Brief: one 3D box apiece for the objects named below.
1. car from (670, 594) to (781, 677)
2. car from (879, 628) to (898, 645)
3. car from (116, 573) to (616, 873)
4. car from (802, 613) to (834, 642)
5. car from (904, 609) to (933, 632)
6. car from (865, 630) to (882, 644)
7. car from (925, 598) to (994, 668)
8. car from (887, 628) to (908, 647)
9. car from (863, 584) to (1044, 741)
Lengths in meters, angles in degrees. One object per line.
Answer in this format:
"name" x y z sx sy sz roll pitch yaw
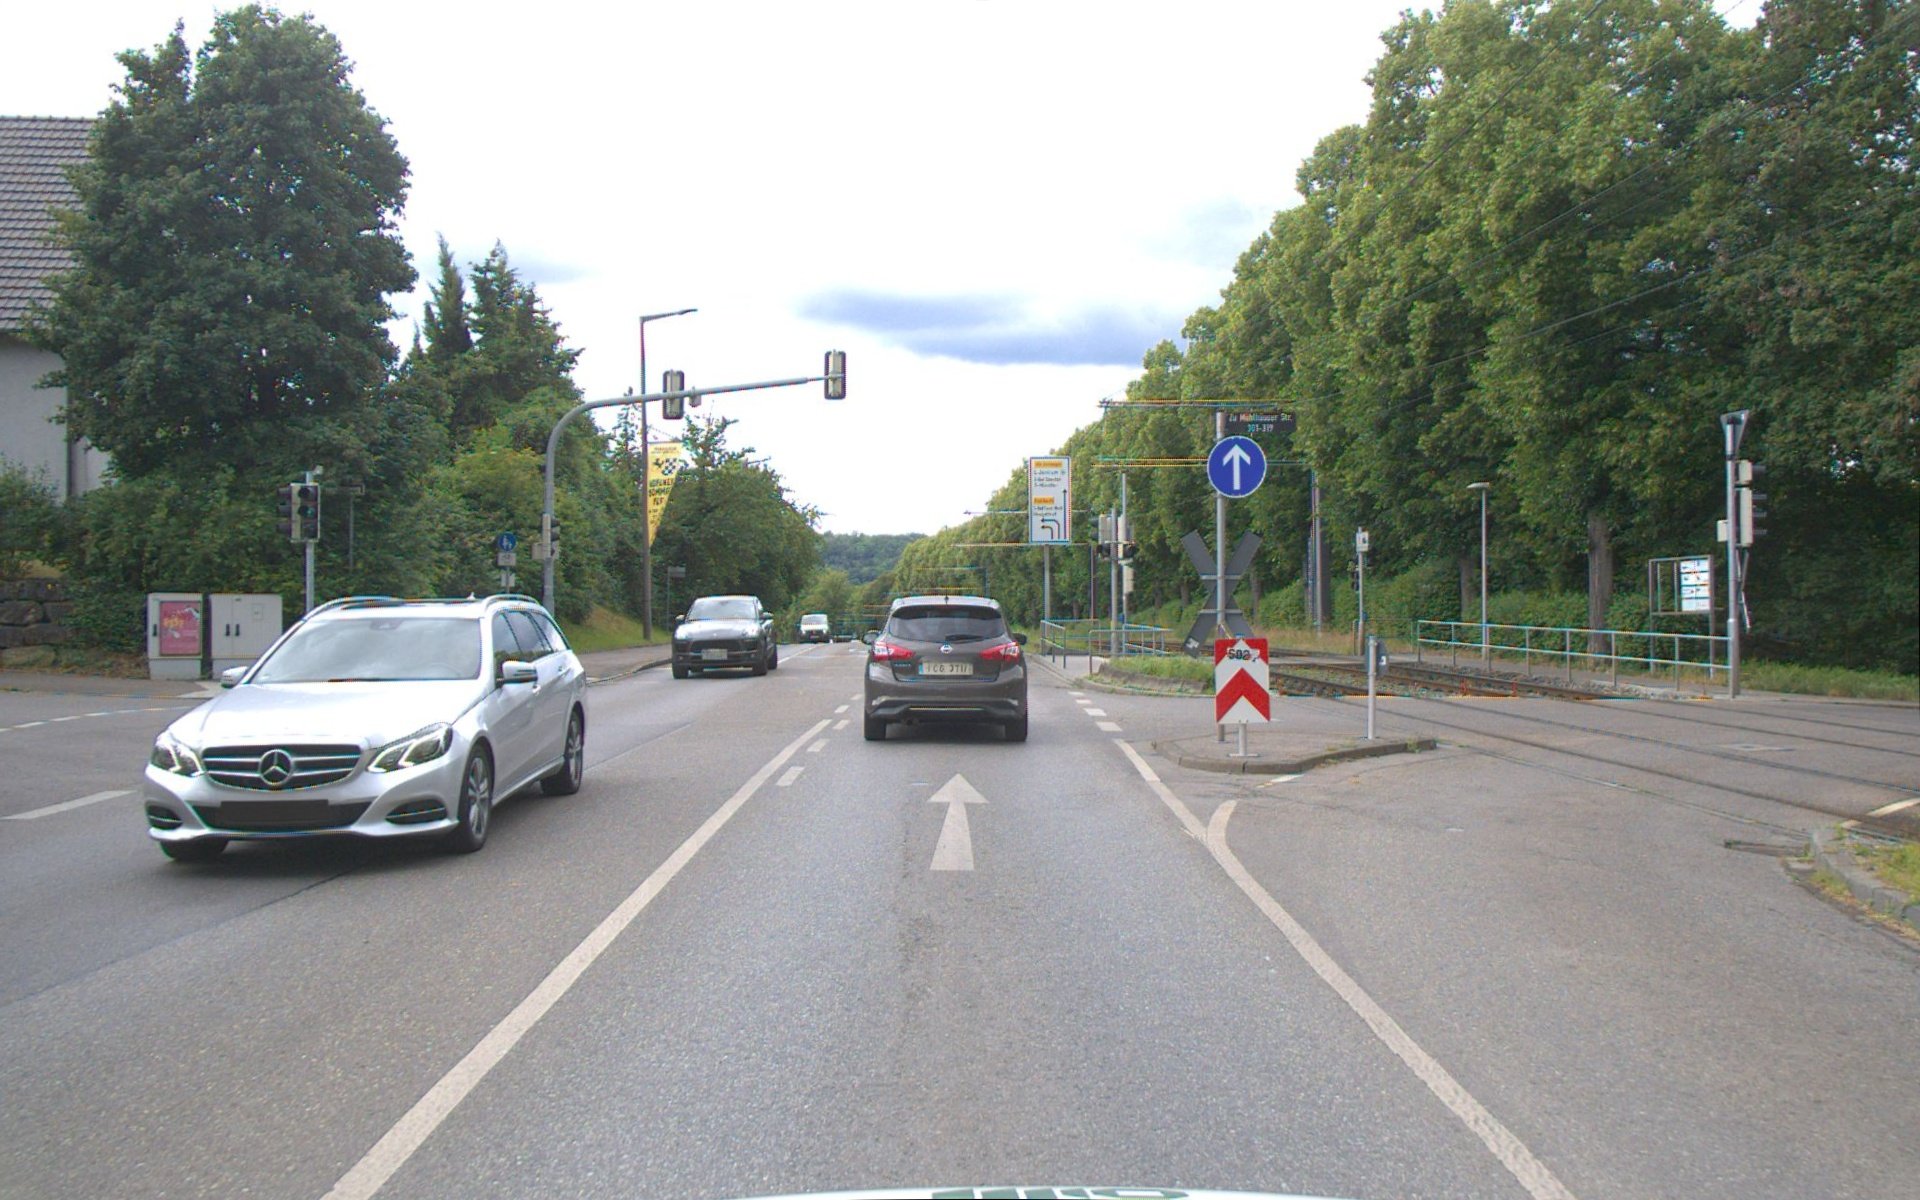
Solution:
"car" -4.871 0.738 34.861 1.863 1.601 4.480 1 -1 -3
"car" -6.600 3.371 152.551 1.707 1.333 3.998 2 0 -2
"car" -3.735 0.646 11.509 1.782 1.594 5.202 1 0 -3
"car" -8.767 1.669 102.250 1.749 1.725 3.998 0 -1 -2
"car" -2.493 1.237 100.207 1.706 1.333 3.999 0 0 -1
"car" -9.004 3.873 173.053 1.707 1.333 3.998 2 0 -2
"car" -0.021 0.718 37.898 1.507 1.504 3.764 0 1 -1
"car" -5.149 3.064 135.825 1.707 1.333 3.998 2 0 -2
"car" -0.085 0.655 18.945 1.798 1.545 4.482 1 -1 -1
